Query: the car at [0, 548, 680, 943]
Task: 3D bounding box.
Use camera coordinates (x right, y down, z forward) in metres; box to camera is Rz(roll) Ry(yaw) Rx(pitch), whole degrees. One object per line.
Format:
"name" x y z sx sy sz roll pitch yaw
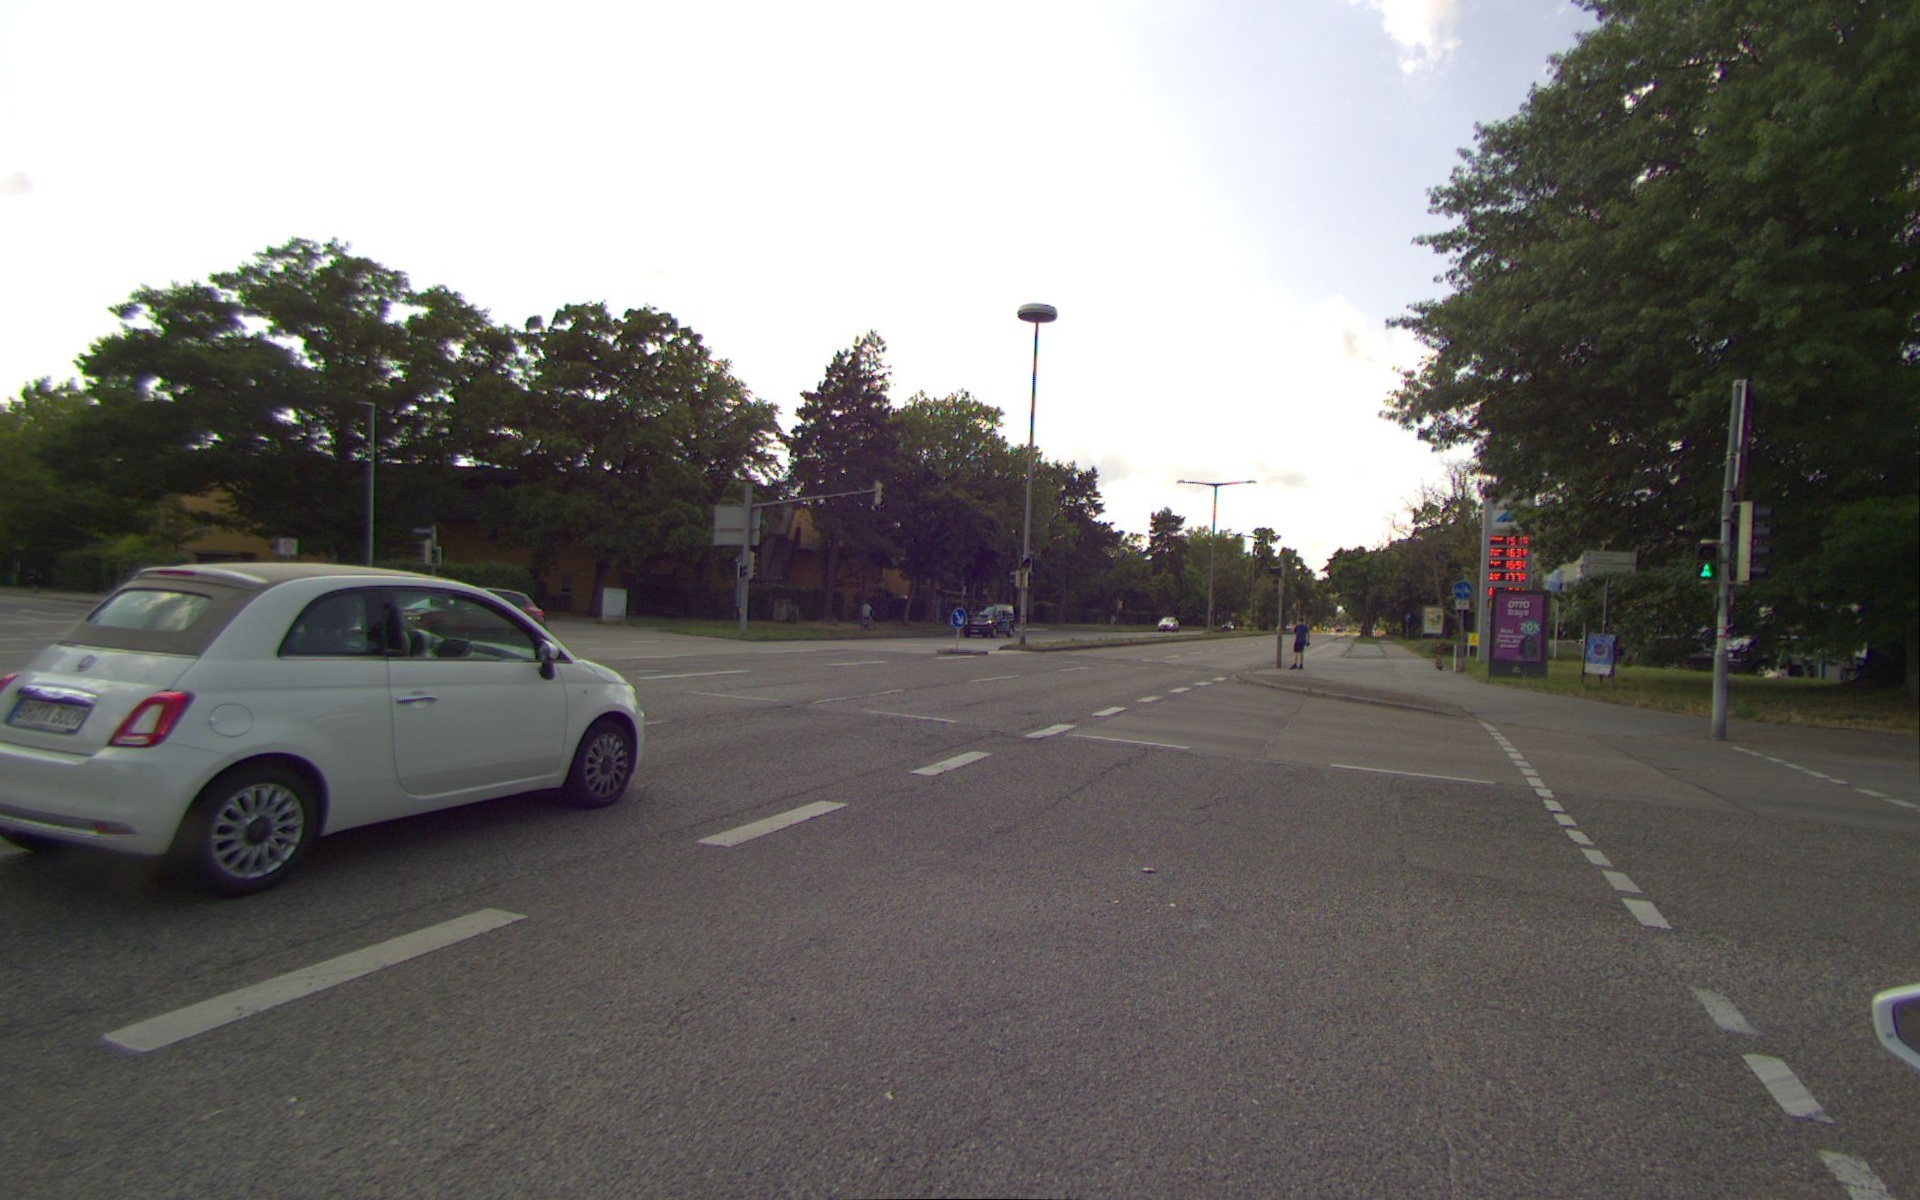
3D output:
"car" -3.389 0.587 5.818 1.544 1.516 3.540 2 -1 21

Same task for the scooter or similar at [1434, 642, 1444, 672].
"scooter or similar" 16.203 1.916 33.967 0.217 0.992 1.272 2 -1 22

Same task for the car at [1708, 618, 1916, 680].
"car" 29.593 1.674 35.094 5.092 1.851 2.155 2 -1 12

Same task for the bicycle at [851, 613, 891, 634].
"bicycle" -5.009 1.332 56.425 2.089 1.134 0.751 3 -1 -30

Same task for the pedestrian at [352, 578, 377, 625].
"pedestrian" -22.819 0.044 38.470 0.686 1.765 0.697 2 -1 -37

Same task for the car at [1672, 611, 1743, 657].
"car" 43.164 1.947 58.136 1.721 2.486 5.750 2 -1 21

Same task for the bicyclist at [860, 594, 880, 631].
"bicyclist" -5.046 0.713 56.397 0.822 2.040 0.747 2 -1 -30

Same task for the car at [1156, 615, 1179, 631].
"car" 23.817 2.629 115.345 1.830 1.728 4.455 2 -1 21

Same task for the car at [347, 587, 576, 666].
"car" -10.615 0.568 21.816 1.742 1.484 4.456 2 -1 19

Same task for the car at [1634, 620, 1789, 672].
"car" 33.720 2.028 45.248 5.095 2.030 2.154 2 -1 19

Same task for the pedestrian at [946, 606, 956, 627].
"pedestrian" -0.668 1.263 76.661 0.560 1.515 0.421 4 0 7

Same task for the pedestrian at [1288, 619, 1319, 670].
"pedestrian" 10.884 1.402 31.834 0.713 1.552 0.760 2 0 6

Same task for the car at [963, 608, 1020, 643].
"car" 1.926 1.486 59.396 1.737 1.881 4.815 2 0 22
